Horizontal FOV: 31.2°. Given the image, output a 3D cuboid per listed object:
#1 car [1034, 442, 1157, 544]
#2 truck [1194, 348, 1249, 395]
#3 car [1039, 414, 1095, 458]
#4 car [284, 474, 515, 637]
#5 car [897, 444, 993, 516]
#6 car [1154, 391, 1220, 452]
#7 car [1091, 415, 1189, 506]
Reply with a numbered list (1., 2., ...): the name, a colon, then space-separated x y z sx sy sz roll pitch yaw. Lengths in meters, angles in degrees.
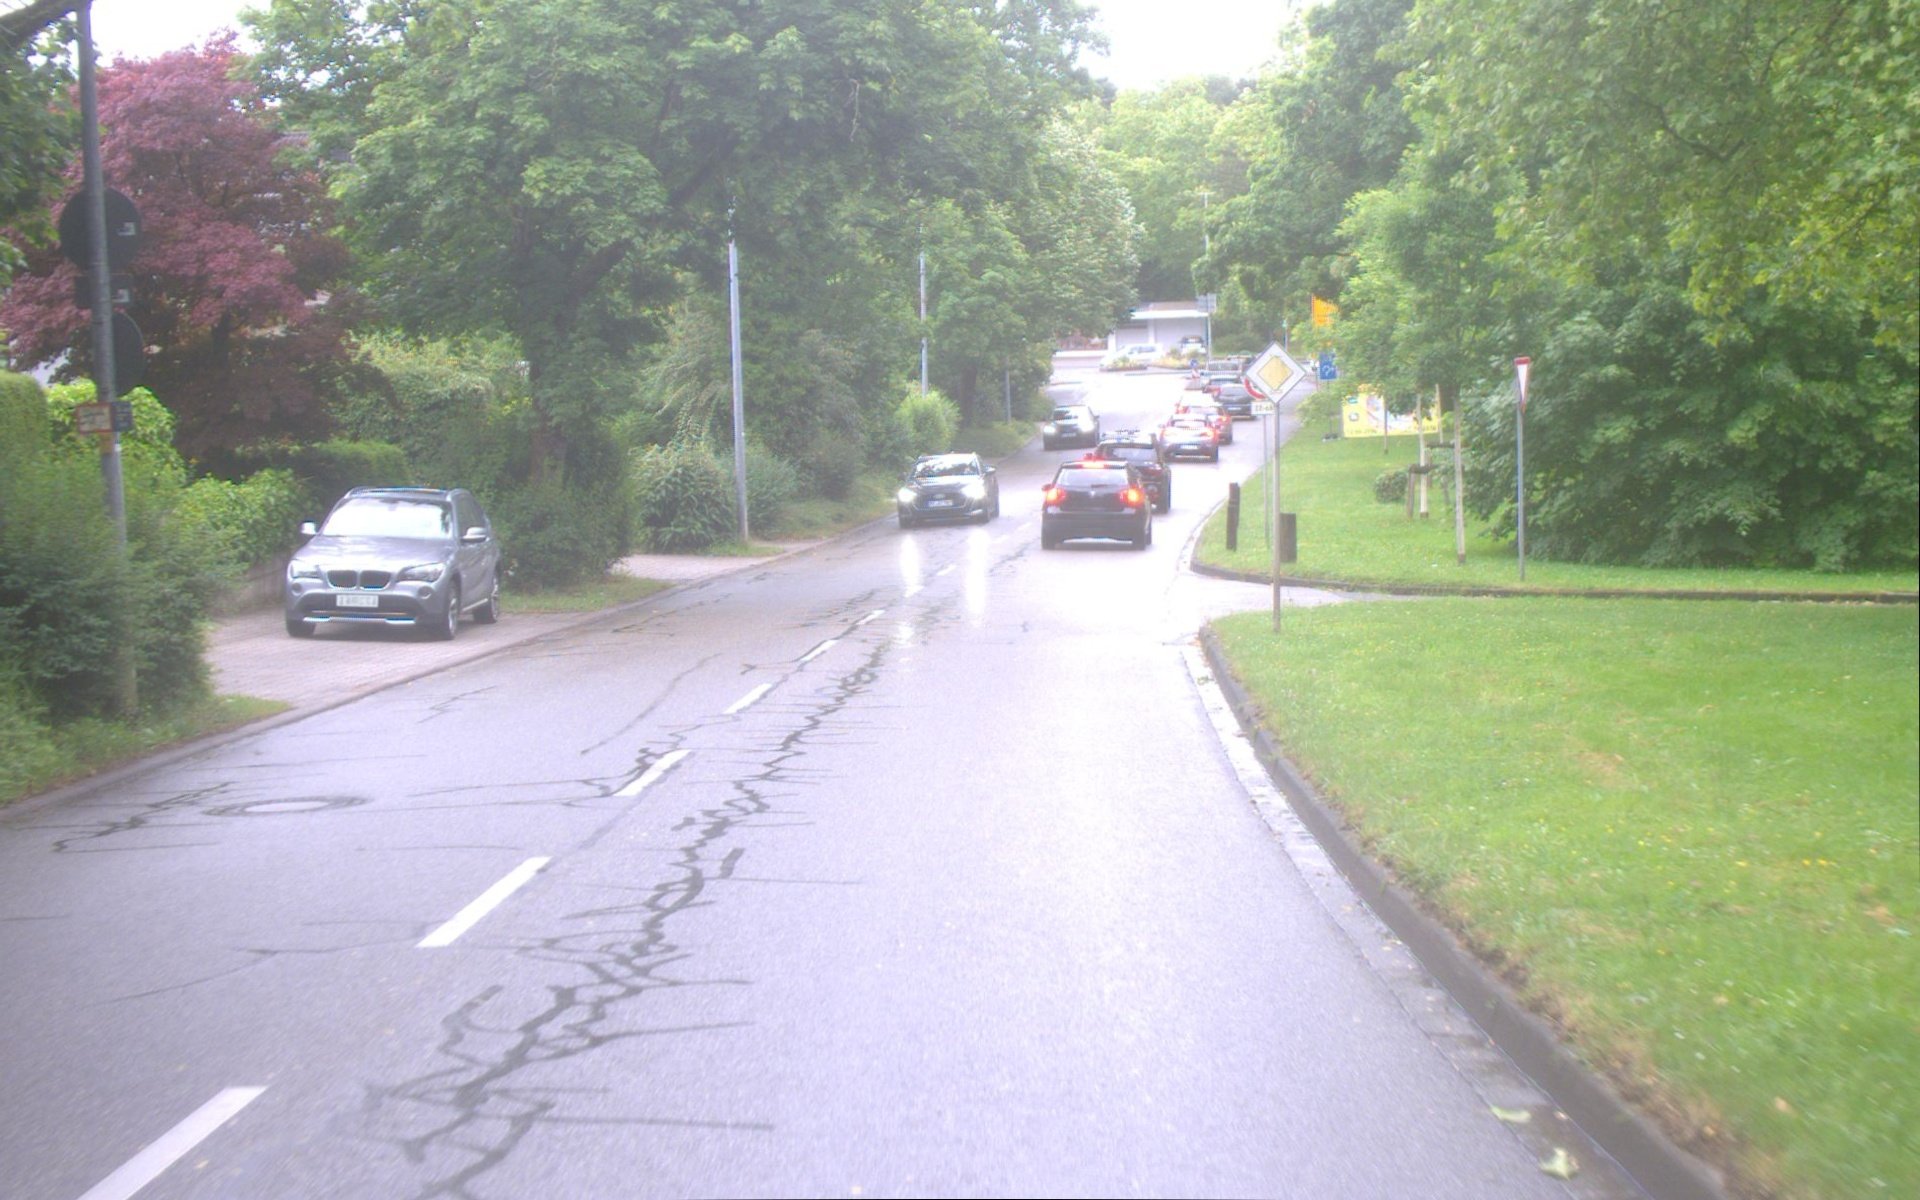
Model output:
1. car: 2.327 -1.844 58.279 1.799 1.510 3.754 1 5 6
2. truck: 12.029 -10.485 157.743 2.417 1.997 5.151 -1 5 5
3. car: 3.829 -5.845 122.100 1.754 1.358 4.326 -3 4 4
4. car: -6.028 -0.535 37.409 1.663 1.536 4.284 2 3 2
5. car: -0.283 -2.511 71.805 1.690 1.391 4.491 -2 2 3
6. car: 7.207 -5.675 108.941 1.856 1.778 4.000 -1 5 7
7. car: 3.956 -3.078 75.179 1.856 1.778 4.000 -1 5 7
